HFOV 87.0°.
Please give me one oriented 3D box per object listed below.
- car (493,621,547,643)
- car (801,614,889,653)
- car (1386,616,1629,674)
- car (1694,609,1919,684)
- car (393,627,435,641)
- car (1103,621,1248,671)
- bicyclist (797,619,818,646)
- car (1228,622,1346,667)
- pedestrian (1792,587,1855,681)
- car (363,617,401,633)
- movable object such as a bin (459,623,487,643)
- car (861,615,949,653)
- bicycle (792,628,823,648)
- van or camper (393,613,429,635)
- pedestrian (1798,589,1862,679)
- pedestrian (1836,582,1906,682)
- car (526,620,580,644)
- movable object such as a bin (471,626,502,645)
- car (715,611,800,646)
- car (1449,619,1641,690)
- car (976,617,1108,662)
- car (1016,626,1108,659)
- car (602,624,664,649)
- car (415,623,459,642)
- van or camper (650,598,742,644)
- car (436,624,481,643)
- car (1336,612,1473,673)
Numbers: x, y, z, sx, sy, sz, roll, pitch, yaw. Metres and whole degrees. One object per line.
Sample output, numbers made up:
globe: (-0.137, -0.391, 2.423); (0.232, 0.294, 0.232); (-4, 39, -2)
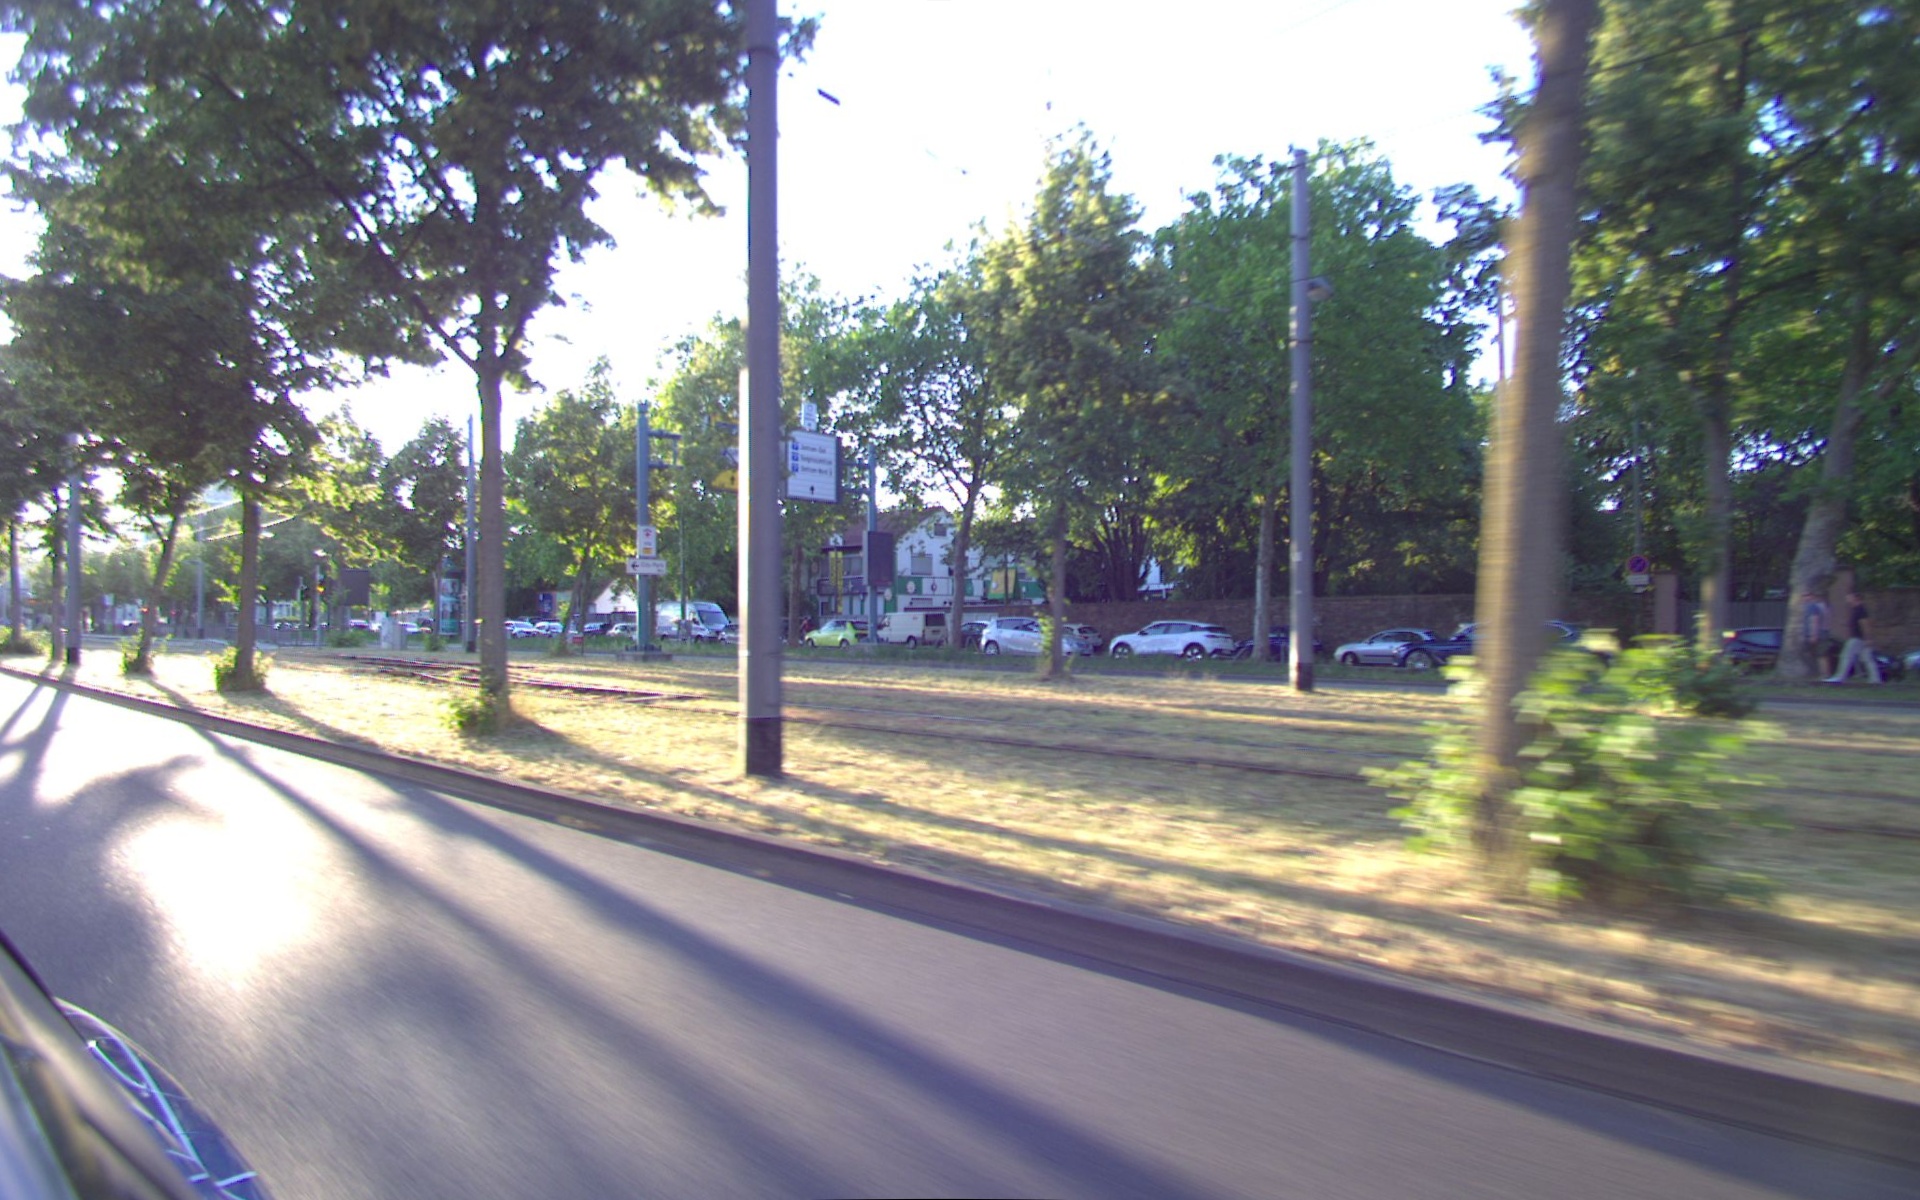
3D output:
car: (-31.353, 2.265, 72.016); (4.298, 1.512, 1.972); (-2, -2, 43)
car: (-5.176, 1.465, 45.155); (1.969, 1.652, 4.005); (1, -2, -42)
car: (13.903, 1.098, 25.970); (5.145, 1.325, 1.971); (-1, -2, 45)
car: (19.344, 1.009, 23.167); (1.782, 1.572, 3.841); (1, -2, -43)
car: (-47.955, 2.956, 88.870); (4.089, 1.210, 1.972); (-2, -2, 43)
car: (7.013, 1.462, 33.142); (4.305, 1.511, 1.879); (-1, -2, 42)
bicyclist: (-8.916, 1.914, 58.991); (0.719, 1.545, 1.086); (1, -2, -43)
car: (12.872, 1.730, 39.974); (4.001, 1.653, 1.971); (-2, -2, 44)
pedestrian: (16.660, 0.654, 19.553); (0.865, 1.756, 0.686); (-1, -2, 39)
car: (-53.164, 2.329, 93.130); (4.000, 1.418, 1.971); (-2, -2, 43)
movable object such as a bin: (-37.010, 2.501, 76.849); (1.701, 1.422, 1.393); (-2, -2, 42)
car: (-3.089, 1.878, 56.113); (5.060, 2.029, 1.971); (-2, -2, 45)
bicycle: (-8.900, 2.214, 58.965); (0.722, 1.099, 2.018); (1, -2, -43)
van or camper: (-64.072, 2.800, 118.113); (2.363, 2.583, 5.638); (1, -2, -43)
pedestrian: (17.586, 0.673, 20.476); (0.864, 1.772, 0.687); (-1, -2, 33)
pedestrian: (17.566, 0.612, 19.531); (0.864, 1.884, 0.687); (-1, -2, 33)
car: (-27.325, 2.116, 67.840); (4.053, 1.543, 1.790); (-2, -2, 43)
movable object such as a bin: (-34.958, 2.621, 74.748); (1.724, 1.383, 1.536); (-2, -2, 42)
car: (-10.136, 1.420, 50.595); (4.205, 1.649, 1.973); (-1, -2, 40)
car: (15.888, 1.419, 27.631); (1.970, 1.763, 4.163); (1, -2, -44)
car: (2.946, 1.403, 36.931); (4.555, 1.510, 1.972); (-1, -2, 42)
car: (4.788, 1.986, 47.910); (4.051, 1.503, 1.839); (-2, -2, 44)
car: (-20.744, 2.261, 64.161); (4.098, 1.512, 1.972); (-1, -1, 43)
car: (-43.947, 2.728, 84.968); (4.296, 1.598, 1.972); (-2, -2, 43)
van or camper: (-14.428, 1.170, 55.113); (2.258, 2.383, 5.786); (1, -2, -44)
car: (-40.073, 2.680, 80.865); (4.000, 1.459, 1.972); (-2, -2, 43)
car: (15.824, 1.477, 36.155); (1.969, 2.029, 4.005); (1, -2, -42)
